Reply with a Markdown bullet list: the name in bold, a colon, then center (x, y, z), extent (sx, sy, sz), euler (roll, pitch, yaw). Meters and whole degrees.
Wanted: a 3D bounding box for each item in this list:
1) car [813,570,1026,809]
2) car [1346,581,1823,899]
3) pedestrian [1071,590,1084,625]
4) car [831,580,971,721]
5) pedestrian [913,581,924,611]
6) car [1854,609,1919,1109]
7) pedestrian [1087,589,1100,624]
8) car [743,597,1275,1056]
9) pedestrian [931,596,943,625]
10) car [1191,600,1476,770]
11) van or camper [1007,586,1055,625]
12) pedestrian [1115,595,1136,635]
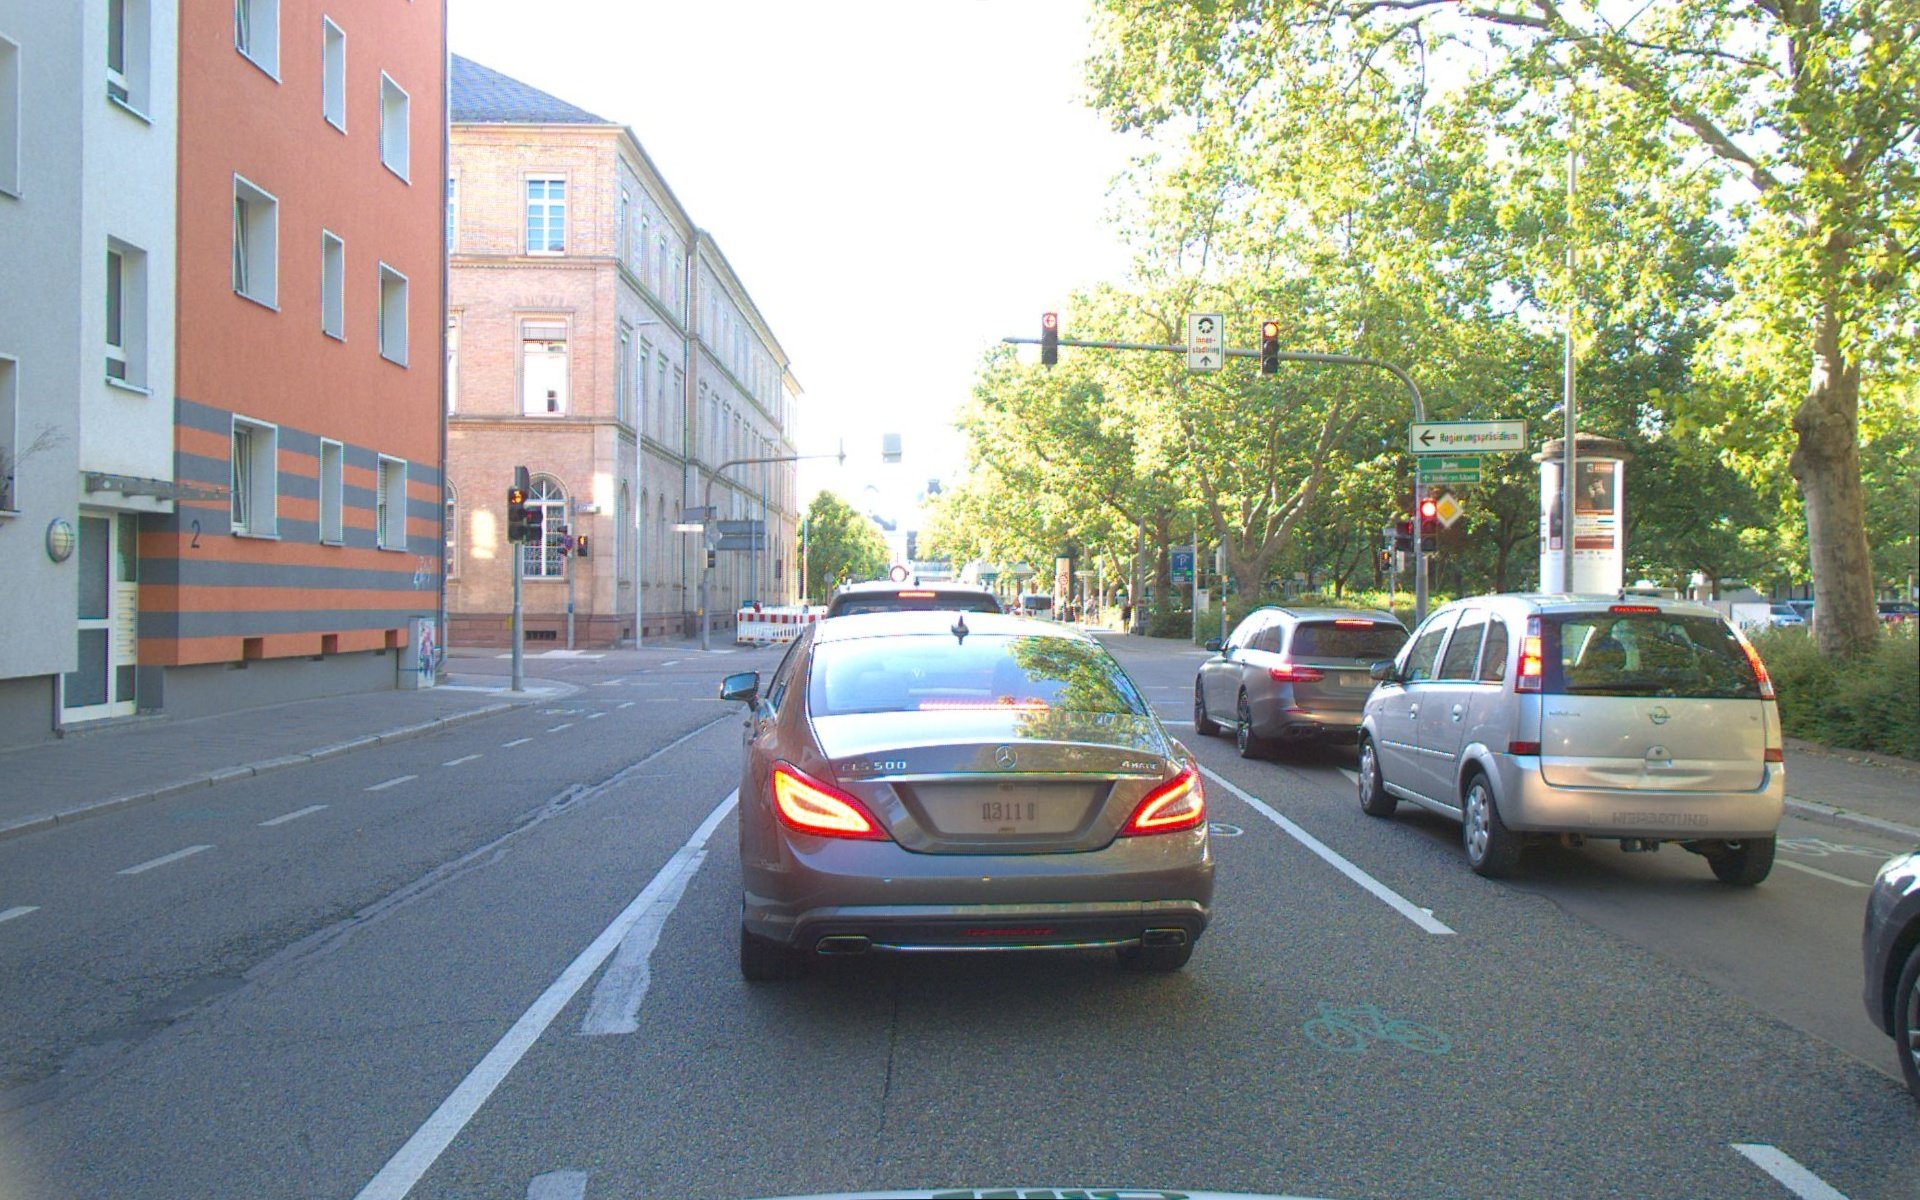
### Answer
- **car**: center (-0.379, 0.632, 13.685), extent (1.487, 1.675, 3.878), euler (1, 0, -3)
- **car**: center (3.787, 0.741, 10.767), extent (1.666, 1.631, 3.860), euler (2, 0, 1)
- **pedestrian**: center (6.264, 0.377, 88.214), extent (0.591, 1.853, 0.651), euler (1, 0, -1)
- **car**: center (-0.782, 0.645, 23.223), extent (1.783, 1.793, 3.999), euler (0, 0, -1)
- **pedestrian**: center (-2.896, -0.281, 115.310), extent (0.710, 2.049, 0.748), euler (1, 0, -5)
- **car**: center (3.758, 0.821, 3.397), extent (1.611, 1.508, 3.975), euler (2, 0, -1)
- **pedestrian**: center (7.096, 0.358, 88.094), extent (0.591, 1.853, 0.651), euler (1, 0, -1)
- **car**: center (-0.099, 0.739, 7.656), extent (1.769, 1.482, 4.343), euler (1, 0, -8)
- **pedestrian**: center (-1.600, 0.738, 115.110), extent (0.710, 2.049, 0.748), euler (0, 0, -5)
- **car**: center (3.754, 0.782, 17.501), extent (1.874, 1.490, 4.668), euler (2, 0, -1)
- **van or camper**: center (3.696, 0.296, 86.873), extent (1.954, 1.975, 4.590), euler (1, 0, -4)
- **pedestrian**: center (6.997, 0.630, 69.958), extent (0.813, 1.634, 0.651), euler (1, 0, -1)
